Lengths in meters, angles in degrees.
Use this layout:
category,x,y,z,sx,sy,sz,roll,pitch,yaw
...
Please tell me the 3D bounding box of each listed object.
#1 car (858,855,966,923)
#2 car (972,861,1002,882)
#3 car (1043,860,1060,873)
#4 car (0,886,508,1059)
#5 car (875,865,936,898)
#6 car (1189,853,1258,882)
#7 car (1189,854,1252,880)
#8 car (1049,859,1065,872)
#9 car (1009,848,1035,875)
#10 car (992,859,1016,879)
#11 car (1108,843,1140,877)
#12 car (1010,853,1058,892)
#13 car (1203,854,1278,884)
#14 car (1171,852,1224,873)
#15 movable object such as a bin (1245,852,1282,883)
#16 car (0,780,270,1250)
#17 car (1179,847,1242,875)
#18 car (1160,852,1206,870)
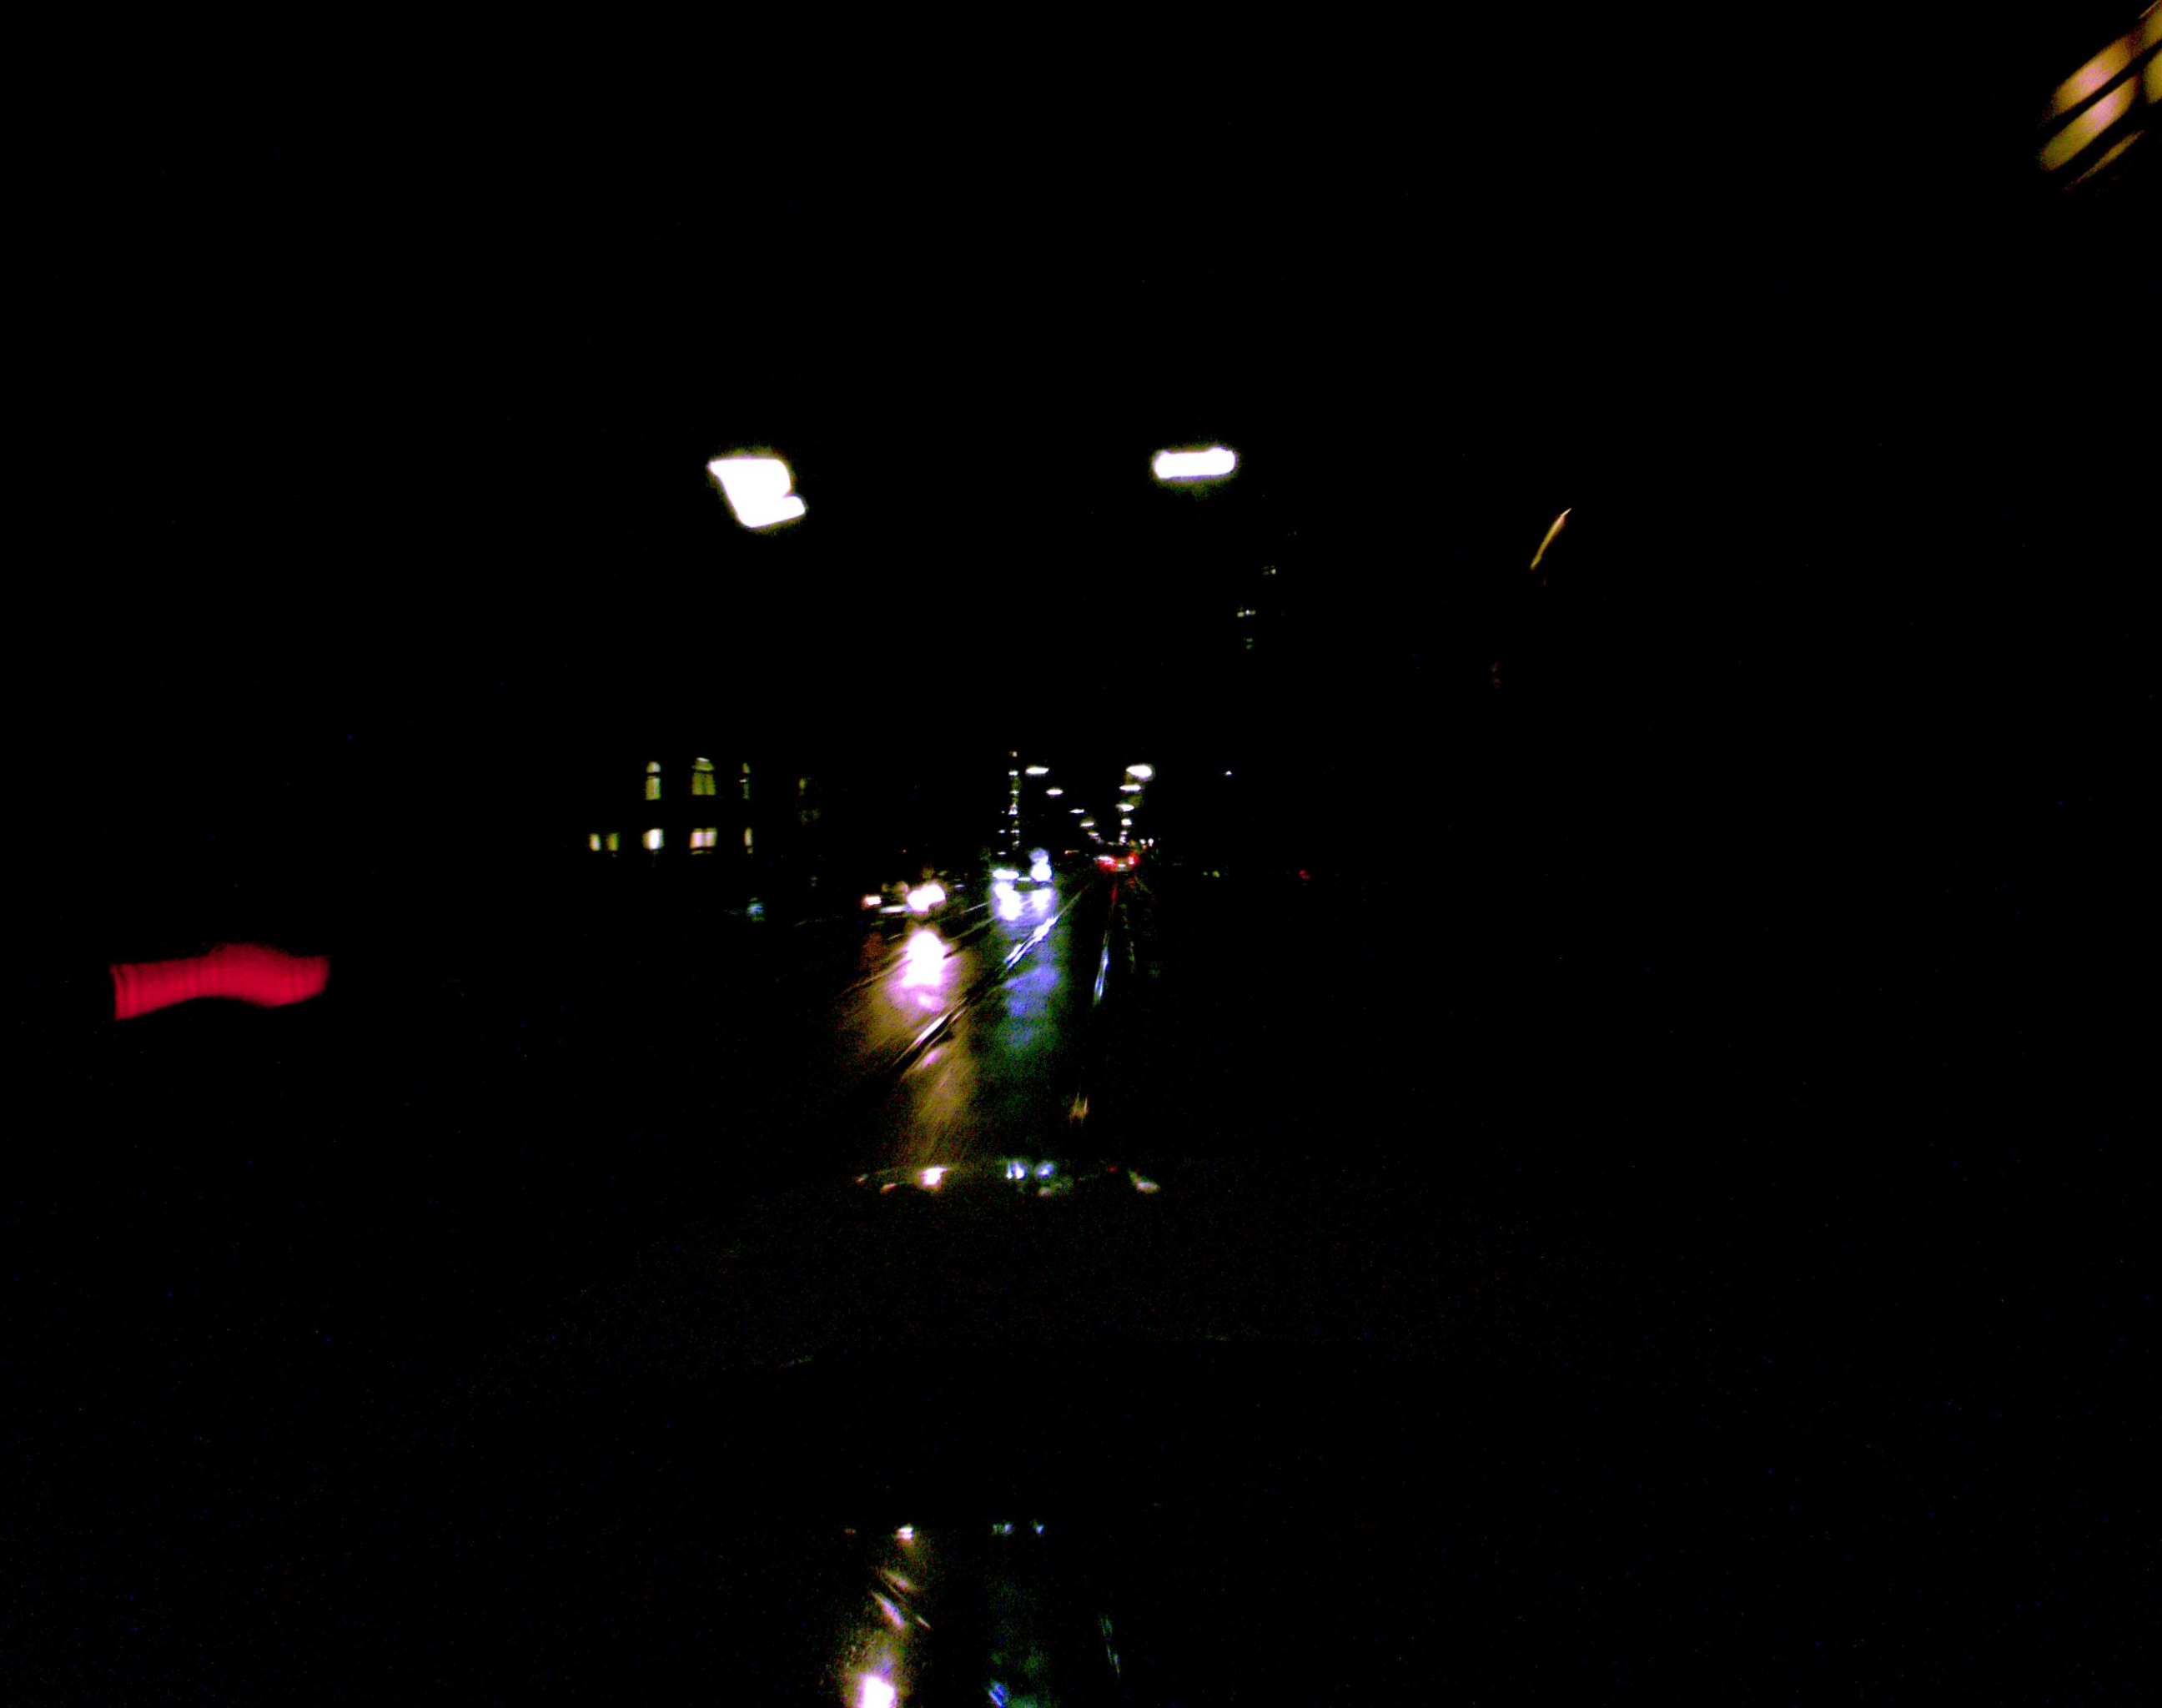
category,x,y,z,sx,sy,sz,roll,pitch,yaw
car,-4.187,0.804,20.792,1.645,1.479,4.208,-3,0,2
car,-6.604,1.244,57.646,1.604,1.428,3.809,0,-1,1
car,-4.108,1.779,112.735,2.101,1.765,4.964,1,-1,0
car,-9.041,1.152,9.457,1.759,1.407,4.141,1,0,1
car,-7.857,1.201,36.797,1.661,1.386,4.004,1,-1,3
car,7.784,0.726,44.330,1.785,1.488,3.878,-2,-1,45
car,8.202,0.744,47.727,3.856,1.438,1.581,1,-1,-42
car,-3.582,1.742,121.154,1.992,1.785,4.002,1,-1,2
car,-5.656,0.699,78.460,2.018,2.499,5.607,1,0,0
car,-6.297,1.229,66.795,1.635,1.507,3.619,0,1,0
car,3.200,0.453,61.376,2.209,2.442,5.384,-1,0,1
car,-2.401,0.928,43.000,1.930,1.815,4.389,-3,0,3
car,8.131,0.760,41.367,3.809,1.458,1.749,1,-1,-40
car,8.932,0.611,62.281,1.671,1.404,4.484,-1,1,44
movable object such as a bin,8.571,0.609,38.296,1.351,1.407,1.020,-1,-1,-18
car,-5.384,0.696,1.983,1.918,1.879,4.641,-3,0,3
car,8.859,0.454,55.402,4.194,1.839,1.940,1,0,-39
car,8.957,0.634,71.640,3.908,1.534,1.800,0,0,-39
